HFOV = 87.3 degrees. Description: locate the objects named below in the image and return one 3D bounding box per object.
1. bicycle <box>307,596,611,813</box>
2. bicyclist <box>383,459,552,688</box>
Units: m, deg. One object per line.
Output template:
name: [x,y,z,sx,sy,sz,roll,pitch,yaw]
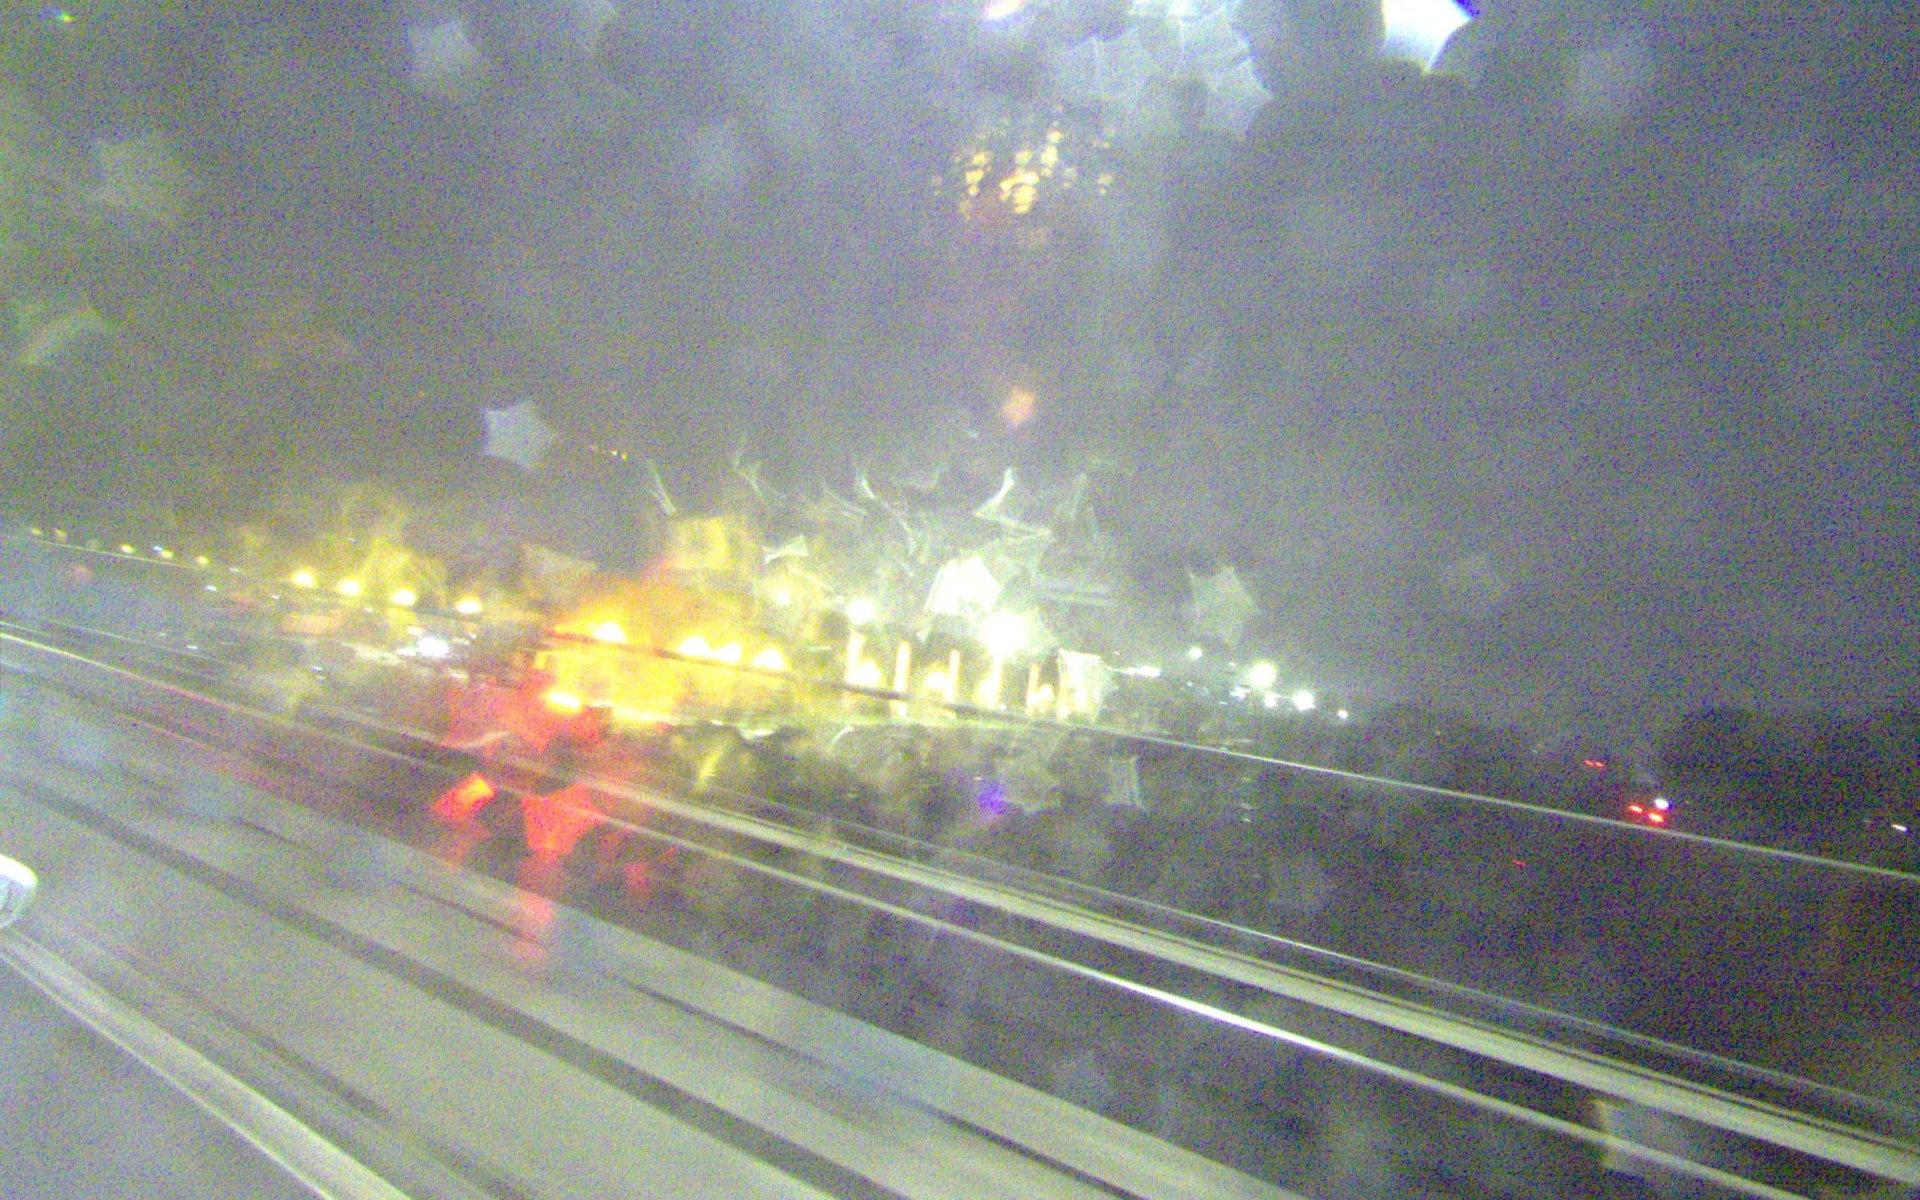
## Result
bicycle: [-3.269,0.618,6.484,2.134,1.047,0.485,7,-1,27]
bicyclist: [-3.175,-0.165,6.495,0.751,1.365,0.454,7,-1,25]
